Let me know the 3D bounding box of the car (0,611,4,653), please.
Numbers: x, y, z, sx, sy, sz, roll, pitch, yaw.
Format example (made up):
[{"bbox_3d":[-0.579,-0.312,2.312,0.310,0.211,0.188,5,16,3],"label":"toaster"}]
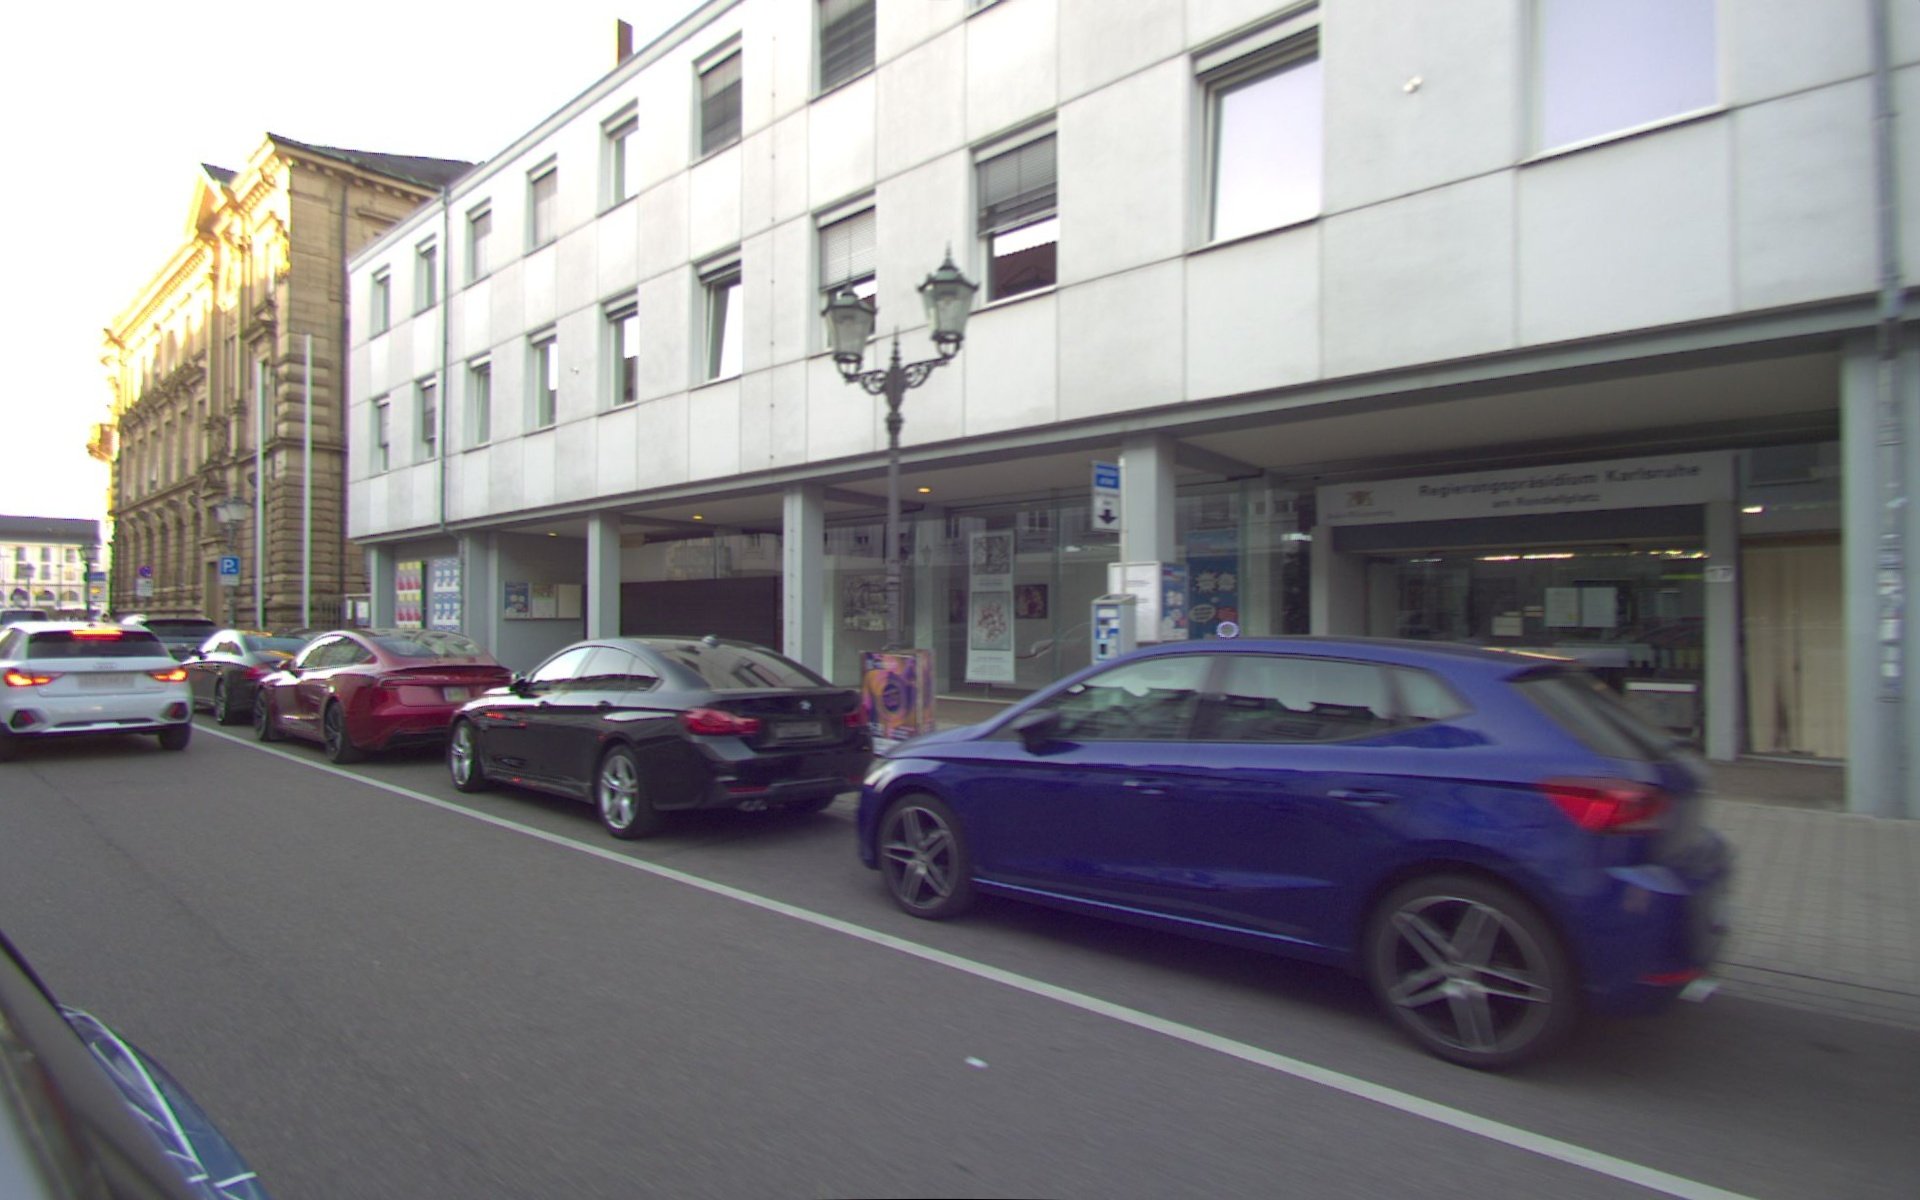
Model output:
[{"bbox_3d":[-53.444,1.728,54.719,5.203,2.188,1.973,-1,-2,40],"label":"car"}]

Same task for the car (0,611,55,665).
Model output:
[{"bbox_3d":[-39.443,1.530,42.201,4.989,2.093,1.972,0,-1,42],"label":"car"}]

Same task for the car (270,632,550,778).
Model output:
[{"bbox_3d":[-6.693,1.109,12.121,4.088,1.419,1.765,-1,-2,43],"label":"car"}]

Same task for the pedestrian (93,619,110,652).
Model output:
[{"bbox_3d":[-45.400,1.873,53.519,0.703,1.743,0.600,-2,-2,44],"label":"pedestrian"}]

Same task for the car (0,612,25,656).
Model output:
[{"bbox_3d":[-48.110,1.656,50.306,5.207,2.103,1.972,-1,-2,43],"label":"car"}]

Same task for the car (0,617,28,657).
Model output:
[{"bbox_3d":[-44.235,1.640,46.235,4.988,1.765,1.972,-1,-2,42],"label":"car"}]

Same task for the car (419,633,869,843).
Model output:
[{"bbox_3d":[-2.870,0.992,8.763,4.000,1.364,1.972,-1,-3,43],"label":"car"}]

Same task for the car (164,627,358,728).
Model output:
[{"bbox_3d":[-11.379,1.155,16.378,4.088,1.419,1.765,-1,-2,43],"label":"car"}]

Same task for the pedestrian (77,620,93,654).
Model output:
[{"bbox_3d":[-45.727,1.923,52.887,0.831,1.743,0.576,-2,-2,44],"label":"pedestrian"}]

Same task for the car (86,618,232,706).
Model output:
[{"bbox_3d":[-16.519,1.199,20.796,4.166,1.627,1.765,-1,-2,43],"label":"car"}]

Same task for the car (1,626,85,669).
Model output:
[{"bbox_3d":[-34.427,1.722,37.959,4.164,1.506,1.972,-1,-2,43],"label":"car"}]

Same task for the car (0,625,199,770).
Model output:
[{"bbox_3d":[-10.557,1.026,11.926,3.998,1.433,1.745,-1,-3,42],"label":"car"}]

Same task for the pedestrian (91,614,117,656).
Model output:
[{"bbox_3d":[-36.617,1.507,43.308,0.896,1.743,0.705,-2,1,44],"label":"pedestrian"}]

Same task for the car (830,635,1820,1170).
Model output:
[{"bbox_3d":[1.343,0.883,4.703,3.999,1.411,1.655,-1,-2,42],"label":"car"}]
